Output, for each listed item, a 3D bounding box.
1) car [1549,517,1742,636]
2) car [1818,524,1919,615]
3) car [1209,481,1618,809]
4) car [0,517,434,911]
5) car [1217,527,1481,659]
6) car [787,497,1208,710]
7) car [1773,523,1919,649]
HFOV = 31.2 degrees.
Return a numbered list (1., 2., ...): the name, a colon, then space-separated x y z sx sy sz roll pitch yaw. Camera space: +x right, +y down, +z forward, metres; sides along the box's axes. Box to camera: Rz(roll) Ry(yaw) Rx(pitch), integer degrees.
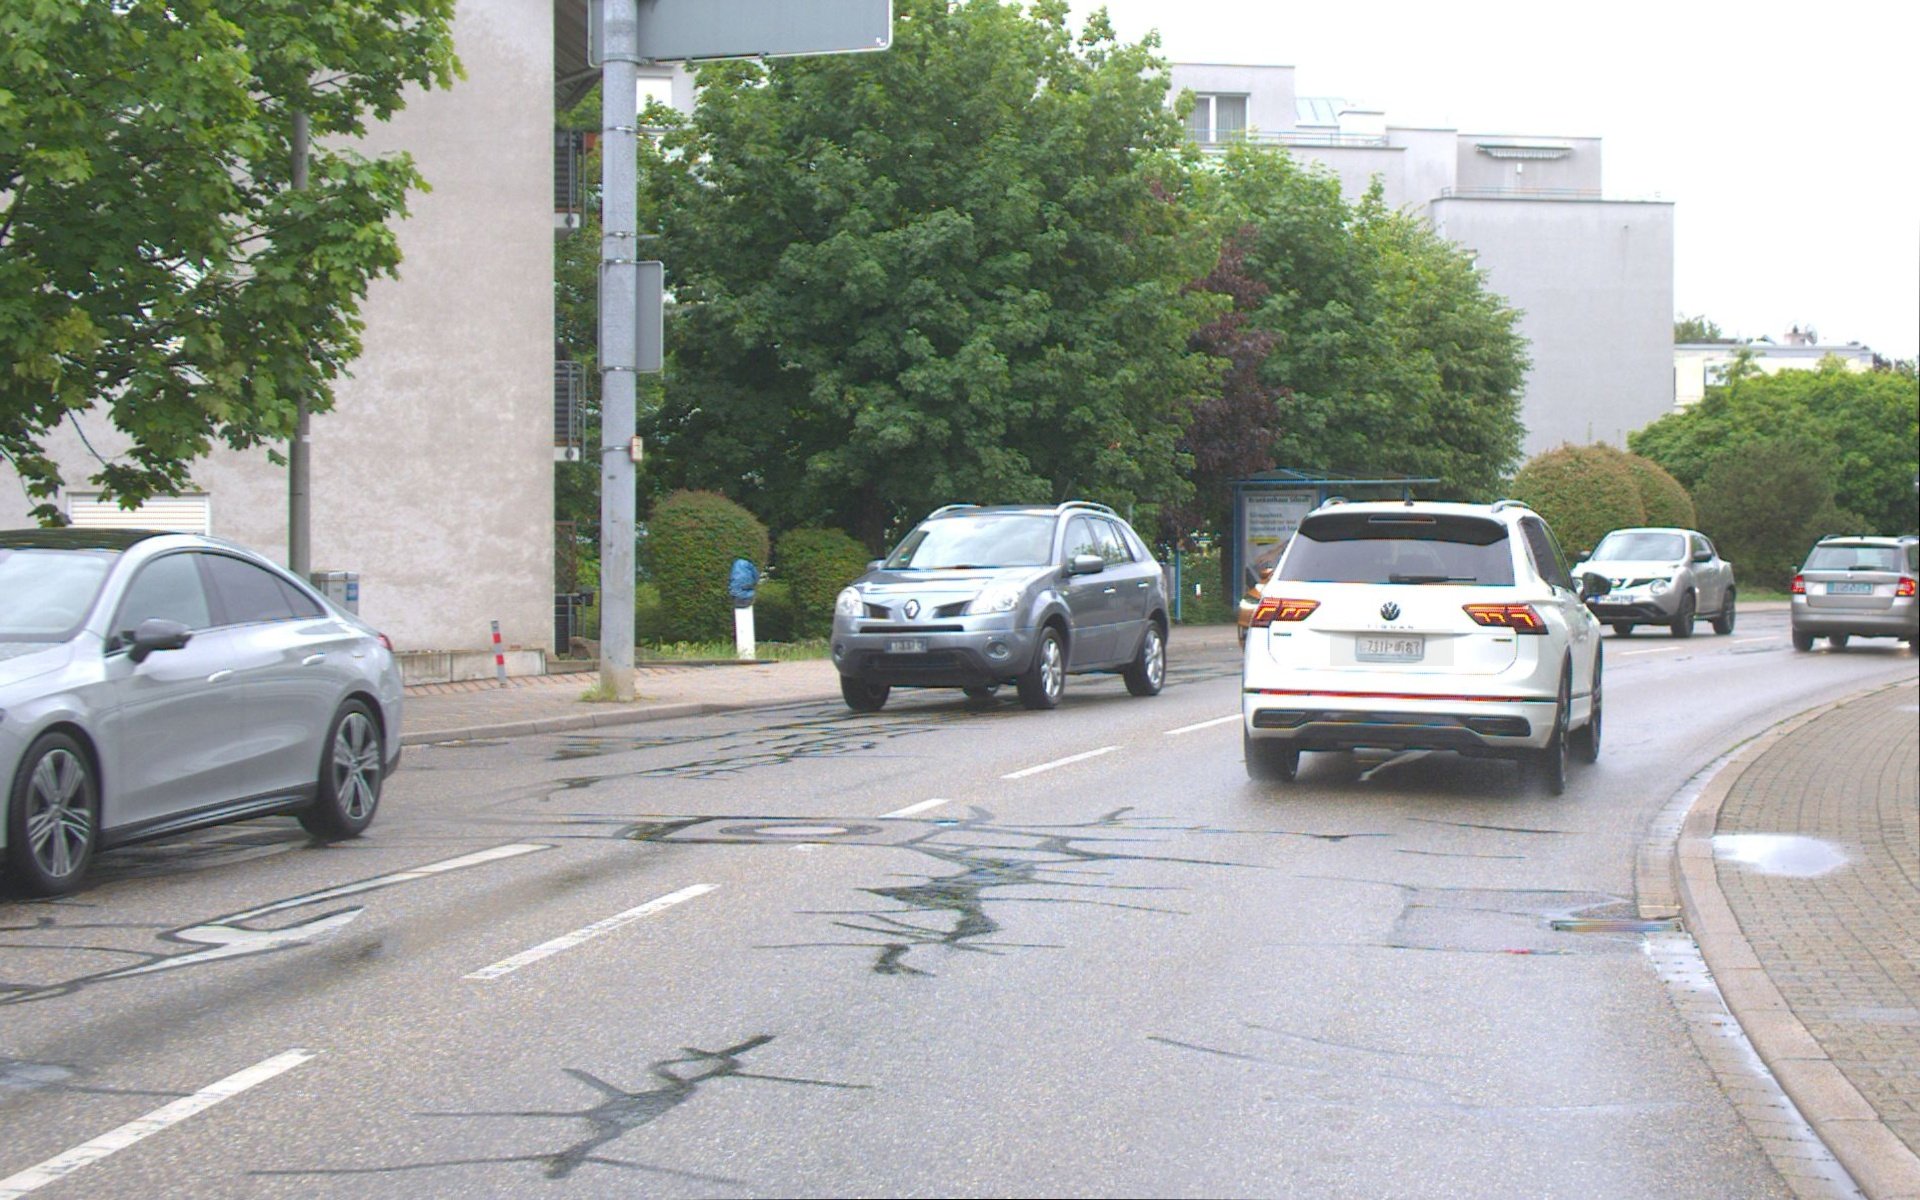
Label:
1. car: 9.995 -0.360 49.927 1.904 1.651 4.110 0 1 24
2. car: 16.874 -0.569 62.341 1.904 1.584 4.110 0 1 24
3. car: 2.859 0.191 20.851 1.922 1.716 4.262 2 2 14
4. car: -4.040 0.381 14.762 1.903 1.386 4.486 1 2 15
5. car: 4.559 -0.113 39.804 1.904 1.434 4.110 0 1 24
6. car: 0.404 -0.025 29.069 1.904 1.651 4.261 1 1 26
7. car: 11.447 -0.147 44.029 1.766 1.505 3.996 1 -1 17
